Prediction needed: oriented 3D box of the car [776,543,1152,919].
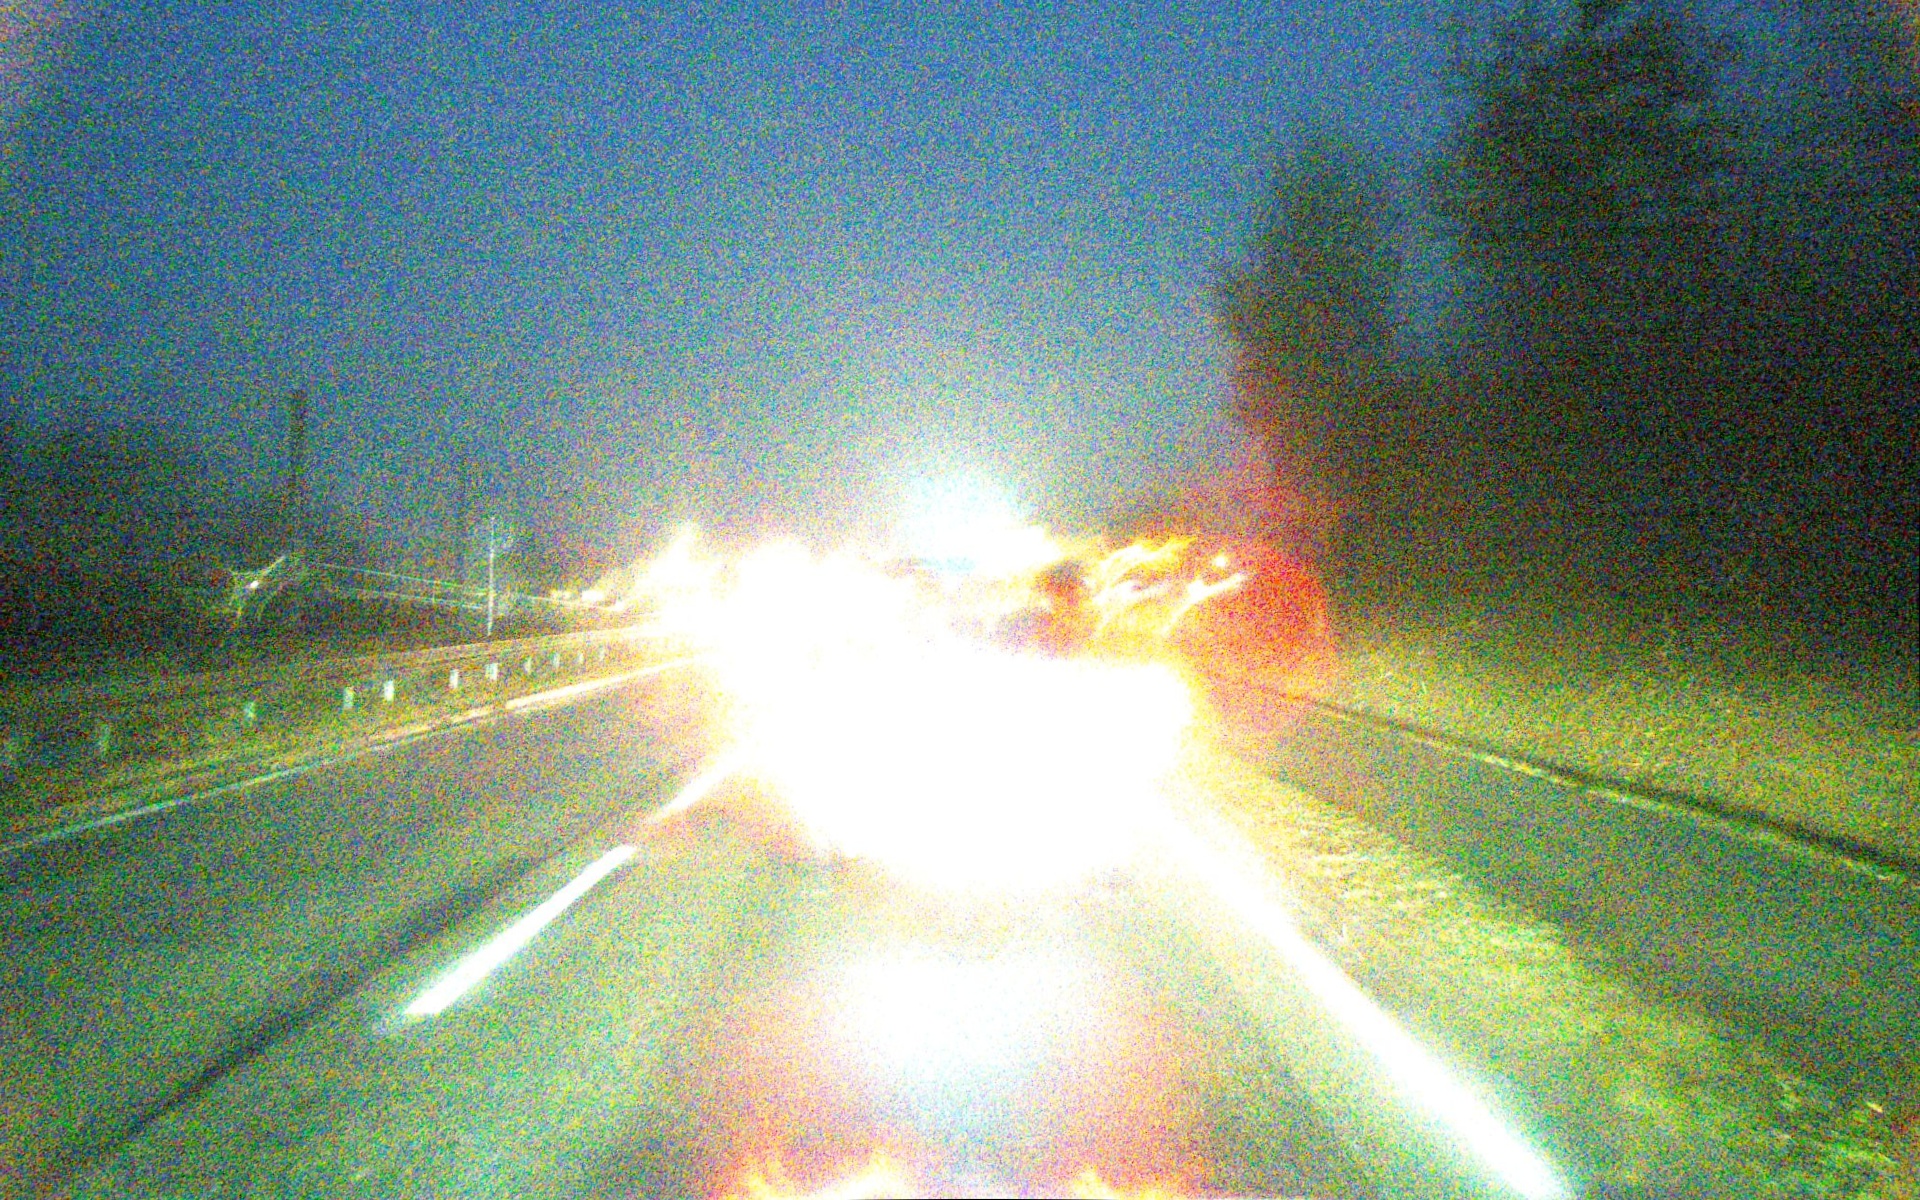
[{"bbox_3d":[0.013,0.630,9.735,1.739,1.742,3.999,1,-1,0],"label":"car"}]
